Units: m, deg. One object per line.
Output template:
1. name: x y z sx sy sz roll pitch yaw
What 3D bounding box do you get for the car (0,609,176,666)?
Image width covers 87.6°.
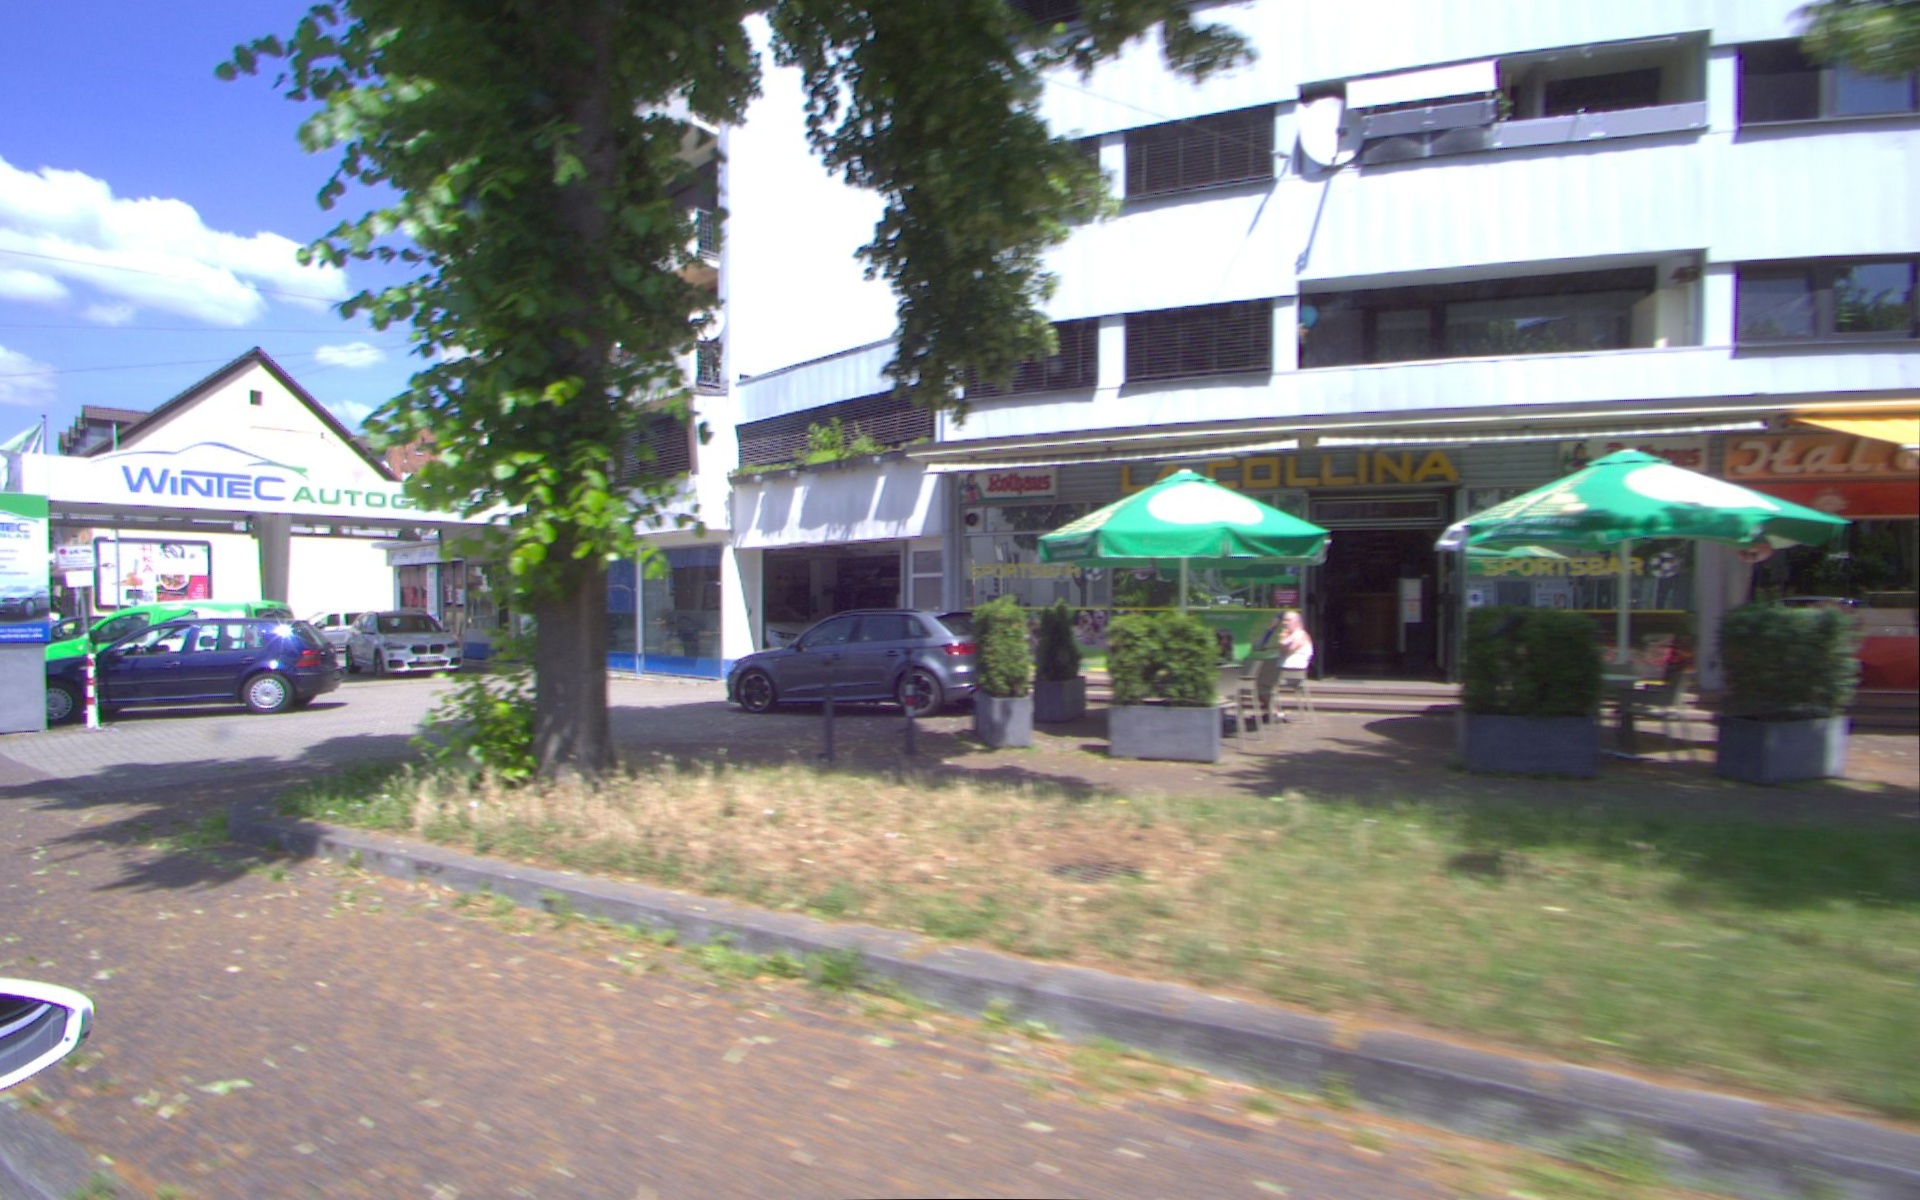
1. car: -25.916 1.049 29.608 1.797 1.538 3.921 -1 0 32

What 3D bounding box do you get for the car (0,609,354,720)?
1. car: -11.722 0.891 15.136 4.104 1.458 1.896 -1 0 -23

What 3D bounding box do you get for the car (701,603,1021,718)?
1. car: -1.441 0.807 14.268 4.293 1.447 1.702 -1 -1 26

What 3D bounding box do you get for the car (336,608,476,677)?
1. car: -14.301 1.038 25.755 4.243 1.617 1.996 -1 0 44

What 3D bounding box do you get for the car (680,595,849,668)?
1. car: -4.808 0.720 24.274 1.981 1.606 4.338 0 -1 -45

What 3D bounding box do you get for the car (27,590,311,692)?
1. car: -15.224 0.761 19.460 3.947 1.818 1.841 -1 0 -4

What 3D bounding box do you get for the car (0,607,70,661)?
1. car: -34.198 1.171 35.000 1.973 1.833 4.292 2 0 35

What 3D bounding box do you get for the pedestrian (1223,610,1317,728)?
1. pedestrian: 3.666 0.788 11.811 0.999 1.322 0.814 0 0 22

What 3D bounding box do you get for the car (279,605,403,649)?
1. car: -27.569 1.193 44.691 1.976 1.833 4.285 2 0 40
